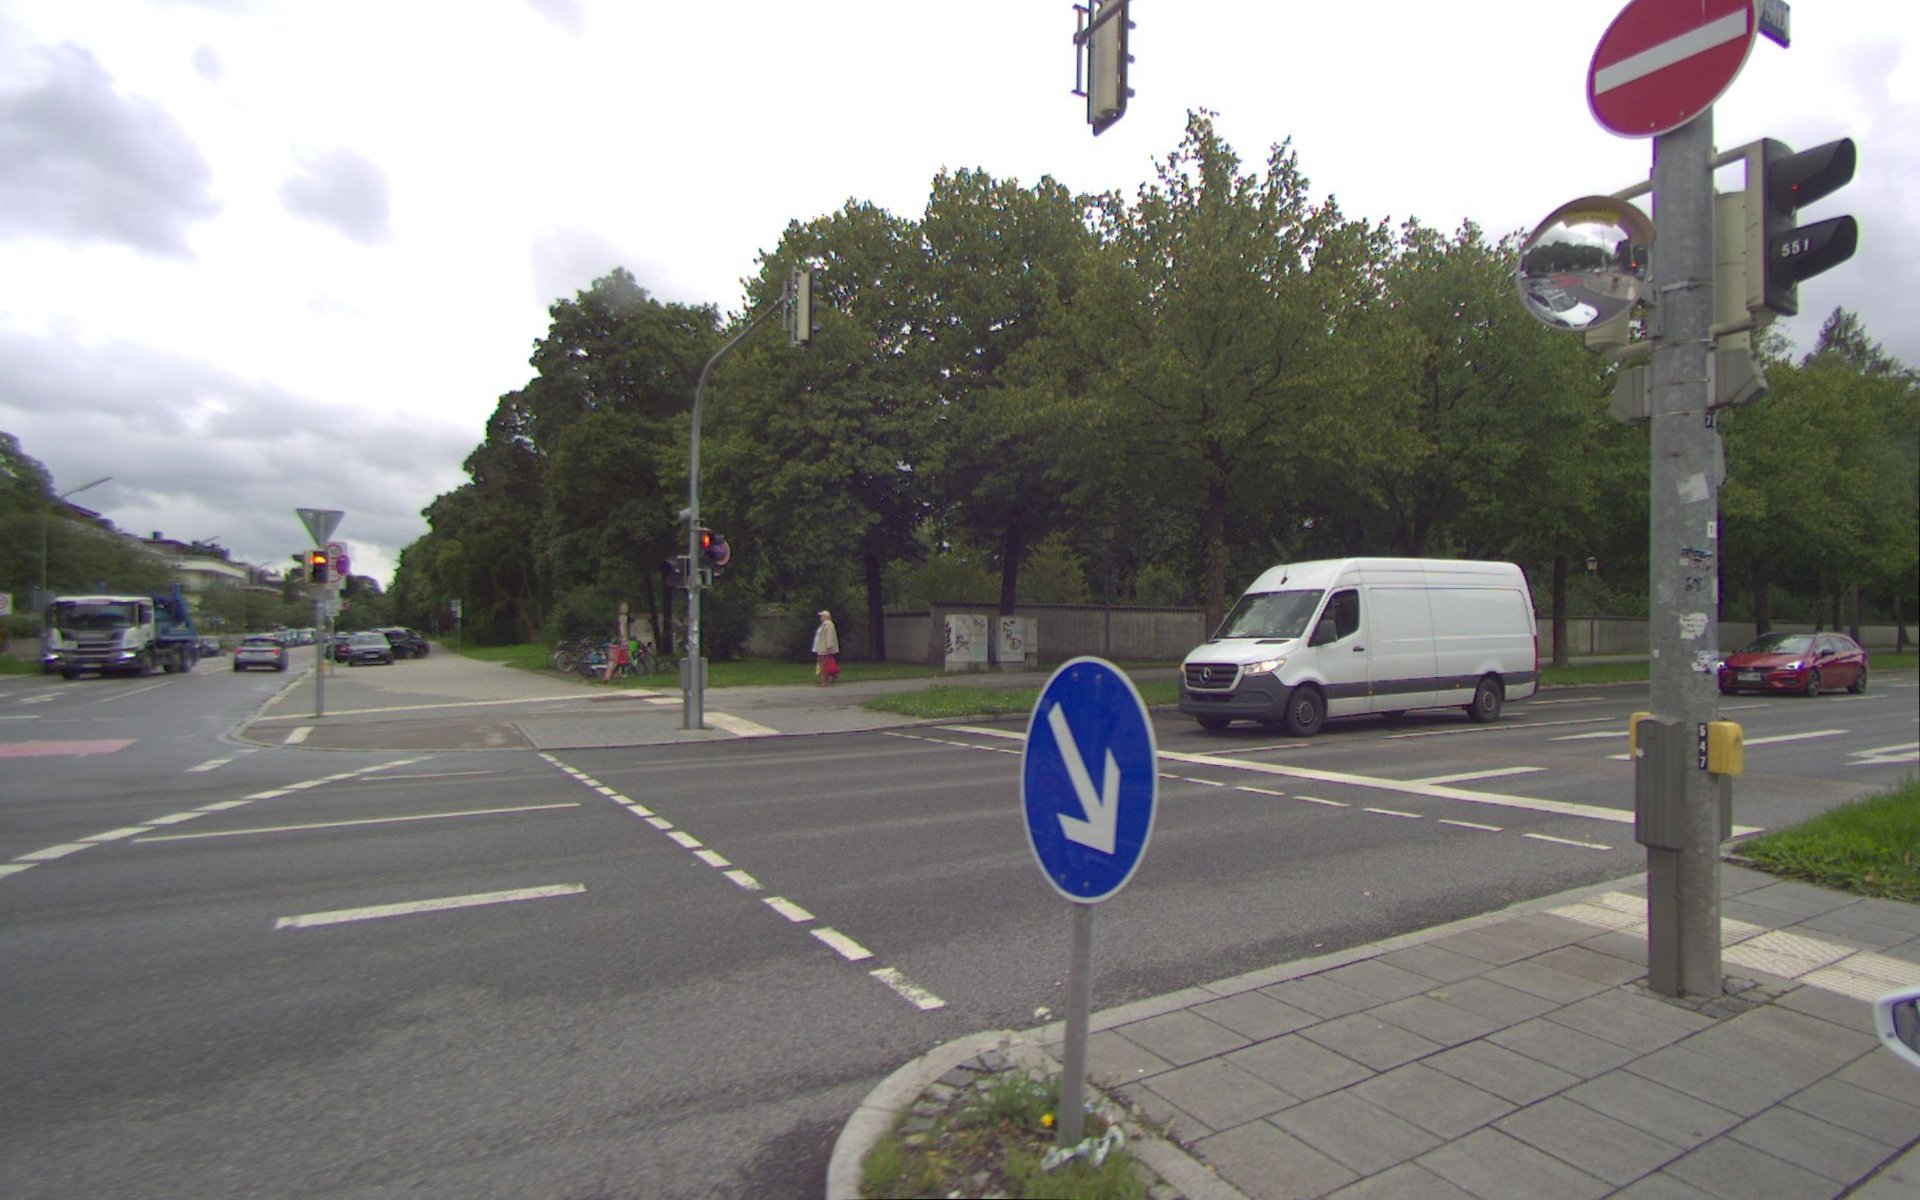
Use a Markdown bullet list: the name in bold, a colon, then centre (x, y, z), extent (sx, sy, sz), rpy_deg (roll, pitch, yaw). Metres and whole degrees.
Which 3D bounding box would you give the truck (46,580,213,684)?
- **truck**: centre (-31.368, 1.185, 38.347), extent (2.732, 3.534, 7.781), rpy_deg (0, -1, -23)

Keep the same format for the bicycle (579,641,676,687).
- **bicycle**: centre (-9.305, 1.780, 28.186), extent (2.468, 1.202, 0.831), rpy_deg (1, -1, -32)

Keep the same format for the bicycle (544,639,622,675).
- **bicycle**: centre (-13.298, 1.987, 35.464), extent (2.468, 1.202, 0.831), rpy_deg (1, -1, -32)

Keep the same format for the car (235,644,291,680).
- **car**: centre (-30.431, 2.715, 43.925), extent (1.913, 1.481, 4.324), rpy_deg (1, -4, -34)

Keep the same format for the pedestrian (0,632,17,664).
- **pedestrian**: centre (-44.220, 2.224, 46.654), extent (0.541, 1.433, 0.596), rpy_deg (1, -1, -41)

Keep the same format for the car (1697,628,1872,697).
- **car**: centre (19.675, 1.455, 23.926), extent (4.603, 1.471, 1.735), rpy_deg (0, -3, -31)

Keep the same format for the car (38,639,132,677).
- **car**: centre (-36.142, 2.358, 41.629), extent (1.902, 1.435, 4.187), rpy_deg (1, -1, -26)

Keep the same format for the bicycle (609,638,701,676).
- **bicycle**: centre (-10.230, 1.899, 33.796), extent (2.852, 1.202, 0.831), rpy_deg (1, -1, -32)

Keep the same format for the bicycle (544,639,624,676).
- **bicycle**: centre (-12.912, 1.946, 34.485), extent (2.468, 1.202, 0.831), rpy_deg (1, -1, -32)

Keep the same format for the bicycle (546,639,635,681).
- **bicycle**: centre (-11.351, 1.831, 30.912), extent (2.468, 1.202, 0.831), rpy_deg (1, -1, -32)

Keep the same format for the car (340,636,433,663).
- **car**: centre (-32.344, 2.767, 56.711), extent (1.900, 1.435, 4.190), rpy_deg (-1, -2, 44)

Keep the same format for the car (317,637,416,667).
- **car**: centre (-31.095, 2.700, 52.674), extent (4.183, 1.435, 1.903), rpy_deg (1, -2, -42)

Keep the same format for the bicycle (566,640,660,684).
- **bicycle**: centre (-10.077, 1.779, 29.227), extent (2.468, 1.202, 0.831), rpy_deg (1, -1, -32)

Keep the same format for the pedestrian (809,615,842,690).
- **pedestrian**: centre (-3.183, 1.231, 23.808), extent (0.512, 1.763, 0.703), rpy_deg (1, -1, -35)

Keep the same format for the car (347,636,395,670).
- **car**: centre (-27.227, 2.435, 46.541), extent (1.822, 1.435, 4.183), rpy_deg (1, -1, -29)

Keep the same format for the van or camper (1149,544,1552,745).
- **van or camper**: centre (6.396, 0.674, 16.074), extent (6.868, 2.681, 2.168), rpy_deg (1, -3, -30)

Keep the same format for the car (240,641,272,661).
- **car**: centre (-61.379, 4.410, 87.602), extent (1.904, 1.612, 4.182), rpy_deg (1, -2, -30)

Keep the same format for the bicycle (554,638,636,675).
- **bicycle**: centre (-12.205, 1.894, 33.644), extent (2.468, 1.201, 0.831), rpy_deg (2, -4, -32)
